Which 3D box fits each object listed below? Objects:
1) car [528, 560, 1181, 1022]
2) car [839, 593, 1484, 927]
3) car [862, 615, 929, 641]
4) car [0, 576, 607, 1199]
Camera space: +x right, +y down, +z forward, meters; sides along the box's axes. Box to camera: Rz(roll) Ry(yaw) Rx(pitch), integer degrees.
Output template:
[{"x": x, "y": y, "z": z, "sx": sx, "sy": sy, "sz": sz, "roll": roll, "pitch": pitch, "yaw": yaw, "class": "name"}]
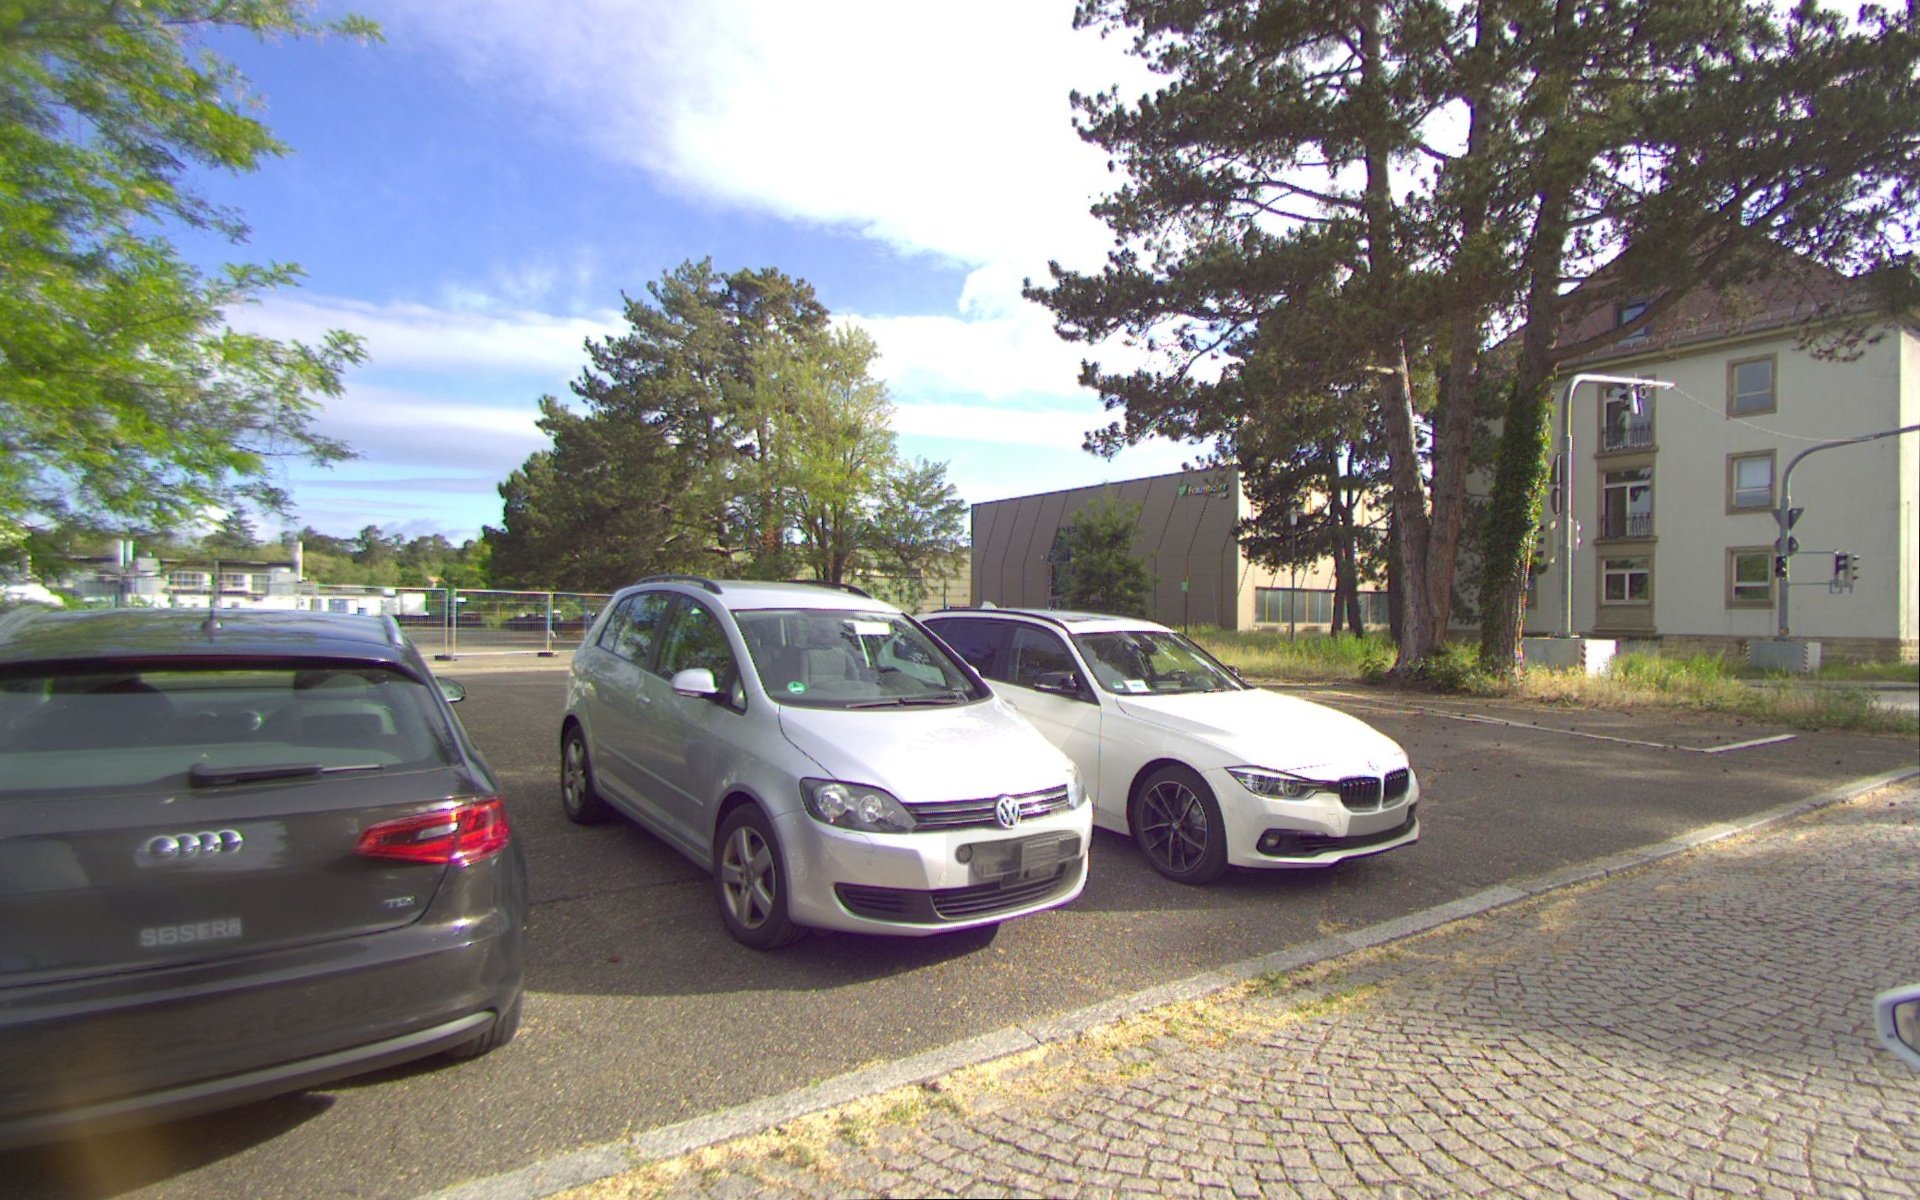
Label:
[{"x": -0.954, "y": 0.659, "z": 5.843, "sx": 1.843, "sy": 1.621, "sz": 4.088, "roll": 2, "pitch": 2, "yaw": -38, "class": "car"}, {"x": 1.056, "y": 0.776, "z": 7.363, "sx": 1.885, "sy": 1.475, "sz": 4.554, "roll": 0, "pitch": 3, "yaw": -36, "class": "car"}, {"x": -4.250, "y": 1.851, "z": 66.280, "sx": 4.118, "sy": 1.580, "sz": 1.790, "roll": 2, "pitch": -1, "yaw": -37, "class": "car"}, {"x": -2.839, "y": 0.719, "z": 3.857, "sx": 1.840, "sy": 1.448, "sz": 3.803, "roll": 2, "pitch": 2, "yaw": -35, "class": "car"}]
